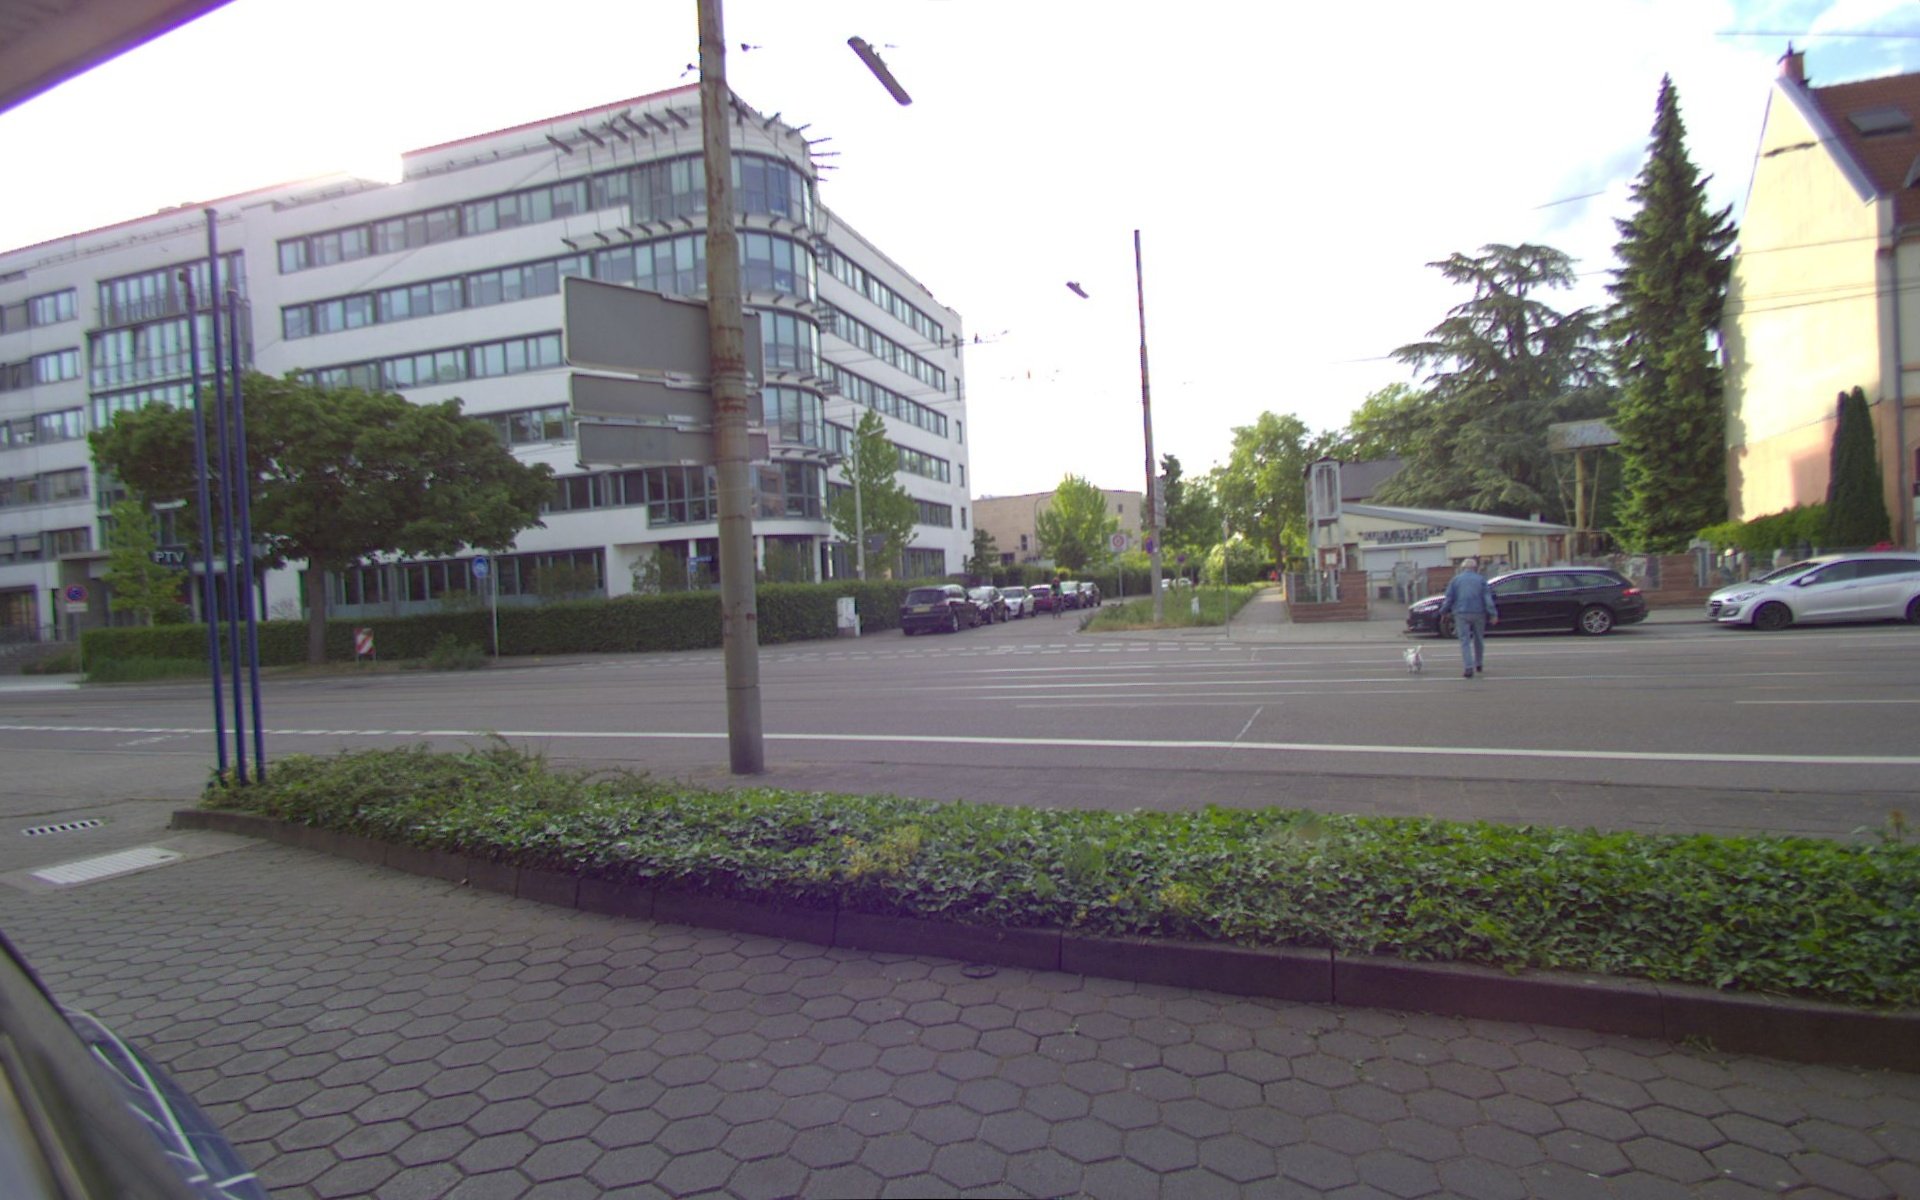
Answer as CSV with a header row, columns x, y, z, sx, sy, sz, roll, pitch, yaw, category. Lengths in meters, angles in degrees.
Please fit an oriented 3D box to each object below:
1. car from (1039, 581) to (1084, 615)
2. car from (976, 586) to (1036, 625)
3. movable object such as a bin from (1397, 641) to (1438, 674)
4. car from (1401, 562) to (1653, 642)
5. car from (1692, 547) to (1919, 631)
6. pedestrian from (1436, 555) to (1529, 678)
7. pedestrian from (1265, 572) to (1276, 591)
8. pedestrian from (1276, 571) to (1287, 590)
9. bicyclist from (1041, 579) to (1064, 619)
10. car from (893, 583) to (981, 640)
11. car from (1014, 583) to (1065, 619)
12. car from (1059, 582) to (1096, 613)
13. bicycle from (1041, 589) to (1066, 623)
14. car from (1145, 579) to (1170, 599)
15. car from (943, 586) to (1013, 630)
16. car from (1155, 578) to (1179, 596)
x,y,z,sx,sy,sz,roll,pitch,yaw,category
5.835,-0.159,57.725,1.929,1.748,4.512,-3,0,13,car
2.142,0.208,45.790,1.929,1.530,4.274,-3,1,13,car
6.926,0.863,15.340,0.477,0.424,0.676,-3,2,19,movable object such as a bin
12.912,0.051,23.447,4.742,1.511,2.001,-3,1,21,car
18.423,-0.248,21.386,4.424,1.494,1.713,-3,1,21,car
7.532,0.216,14.643,0.996,1.680,0.965,-3,1,19,pedestrian
30.515,-1.833,99.454,0.899,1.865,0.942,-3,-1,20,pedestrian
31.510,-1.907,99.233,0.899,1.865,0.942,-3,-1,20,pedestrian
4.021,-0.038,43.805,0.857,1.617,1.026,-3,3,10,bicyclist
-0.725,0.356,35.420,1.994,1.704,4.274,-3,1,13,car
4.176,0.015,52.496,1.929,1.650,4.274,-3,0,13,car
7.289,-0.169,62.499,1.731,1.748,4.030,-3,0,13,car
4.061,0.244,43.901,0.857,1.320,1.914,-3,3,10,bicycle
19.698,-1.100,100.796,1.849,1.748,4.247,-3,1,19,car
0.794,0.285,40.980,1.929,1.551,4.274,-3,1,13,car
21.690,-1.351,106.166,1.849,1.748,4.246,-3,1,19,car
